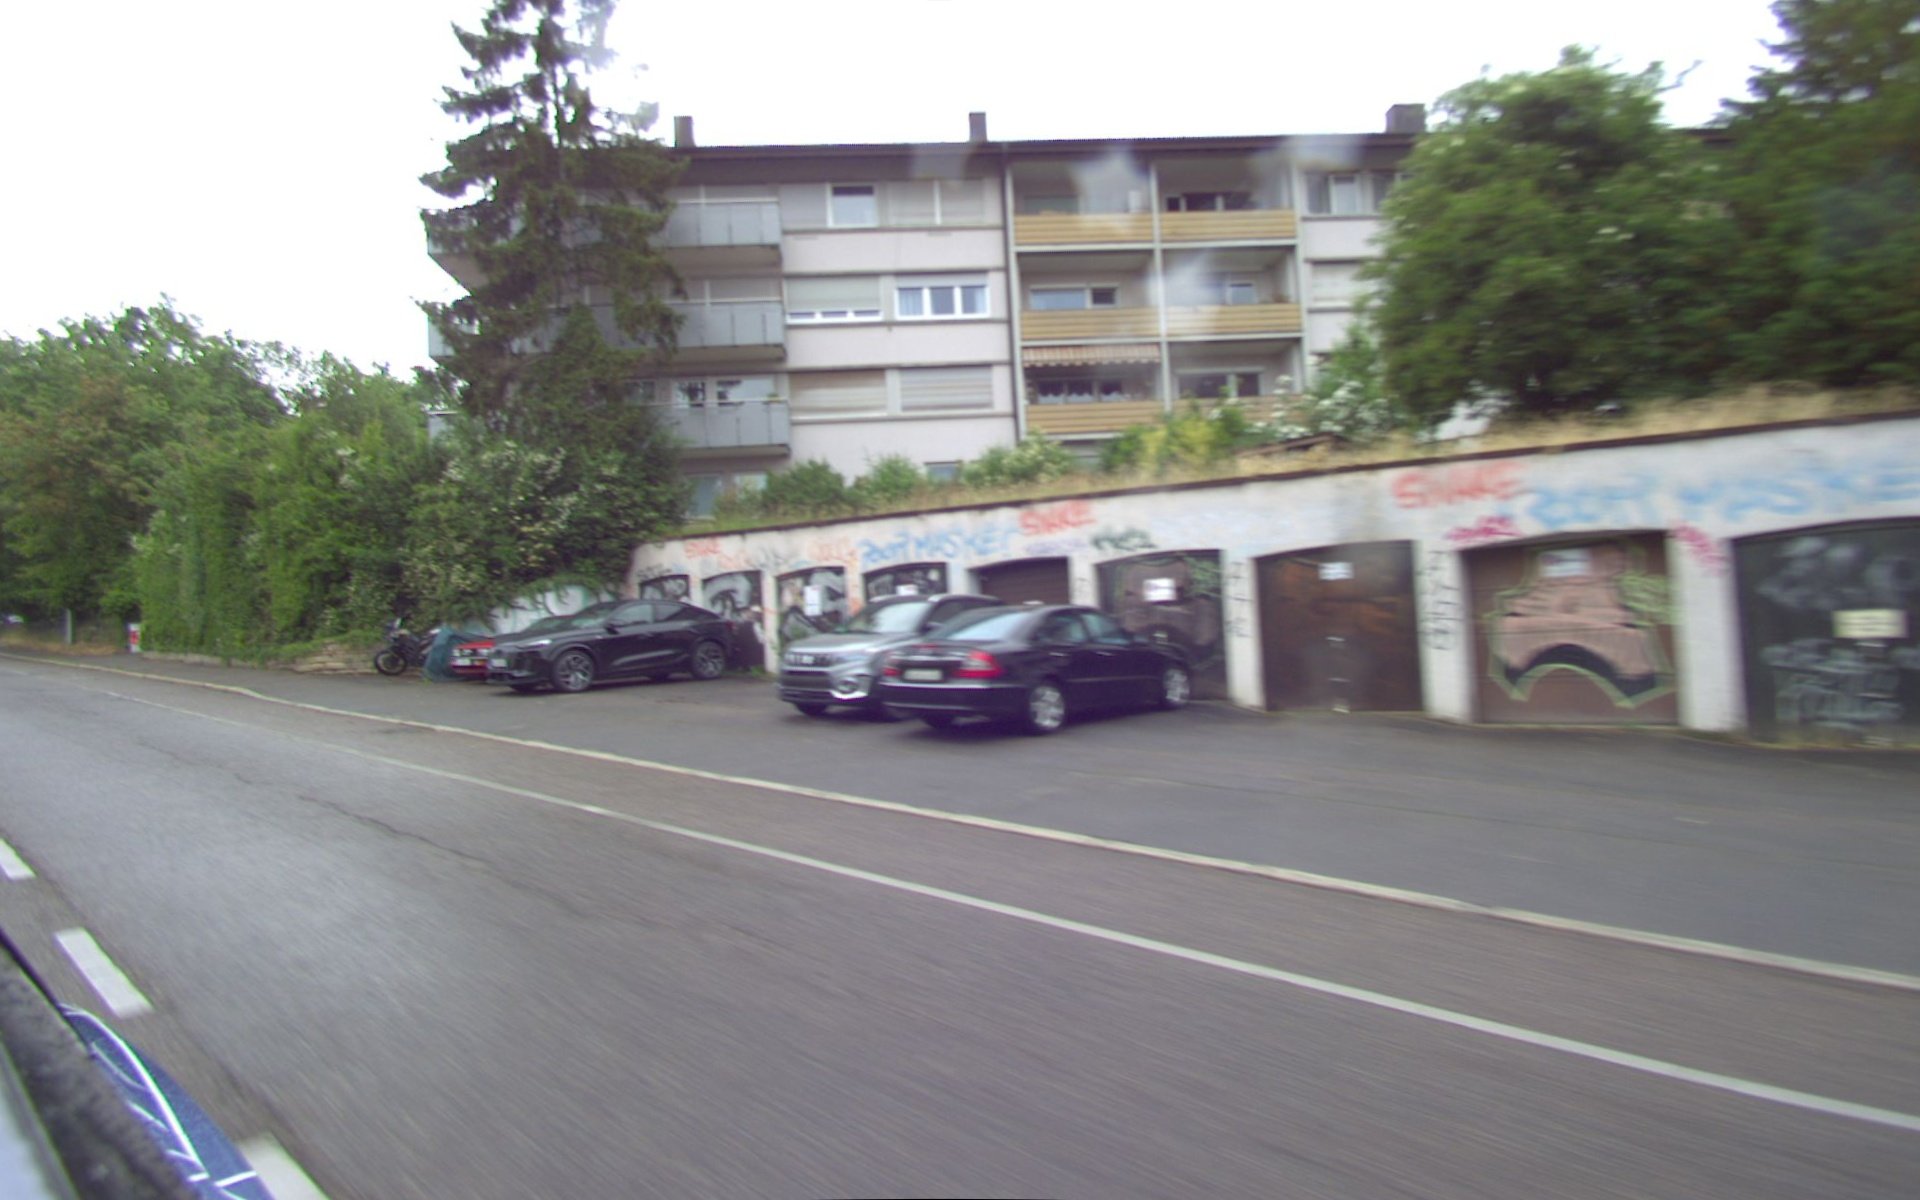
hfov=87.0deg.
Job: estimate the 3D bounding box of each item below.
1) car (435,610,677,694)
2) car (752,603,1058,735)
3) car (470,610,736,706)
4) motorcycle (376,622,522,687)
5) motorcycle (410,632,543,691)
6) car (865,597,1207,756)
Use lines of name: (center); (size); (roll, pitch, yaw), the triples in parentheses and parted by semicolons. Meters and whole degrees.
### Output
car: (-8.290, 1.005, 21.088); (1.774, 1.539, 4.382); (-1, -1, 41)
car: (-0.587, 0.826, 14.044); (1.773, 1.539, 4.385); (-1, -1, 39)
car: (-6.524, 0.986, 18.874); (1.774, 1.539, 4.382); (-1, -1, 41)
motorcycle: (-11.335, 1.179, 22.486); (2.764, 1.282, 1.282); (-1, 0, -34)
motorcycle: (-10.101, 1.260, 21.214); (2.425, 1.117, 0.661); (0, -1, -42)
car: (1.106, 0.770, 12.371); (1.847, 1.501, 4.438); (-1, 1, 42)
